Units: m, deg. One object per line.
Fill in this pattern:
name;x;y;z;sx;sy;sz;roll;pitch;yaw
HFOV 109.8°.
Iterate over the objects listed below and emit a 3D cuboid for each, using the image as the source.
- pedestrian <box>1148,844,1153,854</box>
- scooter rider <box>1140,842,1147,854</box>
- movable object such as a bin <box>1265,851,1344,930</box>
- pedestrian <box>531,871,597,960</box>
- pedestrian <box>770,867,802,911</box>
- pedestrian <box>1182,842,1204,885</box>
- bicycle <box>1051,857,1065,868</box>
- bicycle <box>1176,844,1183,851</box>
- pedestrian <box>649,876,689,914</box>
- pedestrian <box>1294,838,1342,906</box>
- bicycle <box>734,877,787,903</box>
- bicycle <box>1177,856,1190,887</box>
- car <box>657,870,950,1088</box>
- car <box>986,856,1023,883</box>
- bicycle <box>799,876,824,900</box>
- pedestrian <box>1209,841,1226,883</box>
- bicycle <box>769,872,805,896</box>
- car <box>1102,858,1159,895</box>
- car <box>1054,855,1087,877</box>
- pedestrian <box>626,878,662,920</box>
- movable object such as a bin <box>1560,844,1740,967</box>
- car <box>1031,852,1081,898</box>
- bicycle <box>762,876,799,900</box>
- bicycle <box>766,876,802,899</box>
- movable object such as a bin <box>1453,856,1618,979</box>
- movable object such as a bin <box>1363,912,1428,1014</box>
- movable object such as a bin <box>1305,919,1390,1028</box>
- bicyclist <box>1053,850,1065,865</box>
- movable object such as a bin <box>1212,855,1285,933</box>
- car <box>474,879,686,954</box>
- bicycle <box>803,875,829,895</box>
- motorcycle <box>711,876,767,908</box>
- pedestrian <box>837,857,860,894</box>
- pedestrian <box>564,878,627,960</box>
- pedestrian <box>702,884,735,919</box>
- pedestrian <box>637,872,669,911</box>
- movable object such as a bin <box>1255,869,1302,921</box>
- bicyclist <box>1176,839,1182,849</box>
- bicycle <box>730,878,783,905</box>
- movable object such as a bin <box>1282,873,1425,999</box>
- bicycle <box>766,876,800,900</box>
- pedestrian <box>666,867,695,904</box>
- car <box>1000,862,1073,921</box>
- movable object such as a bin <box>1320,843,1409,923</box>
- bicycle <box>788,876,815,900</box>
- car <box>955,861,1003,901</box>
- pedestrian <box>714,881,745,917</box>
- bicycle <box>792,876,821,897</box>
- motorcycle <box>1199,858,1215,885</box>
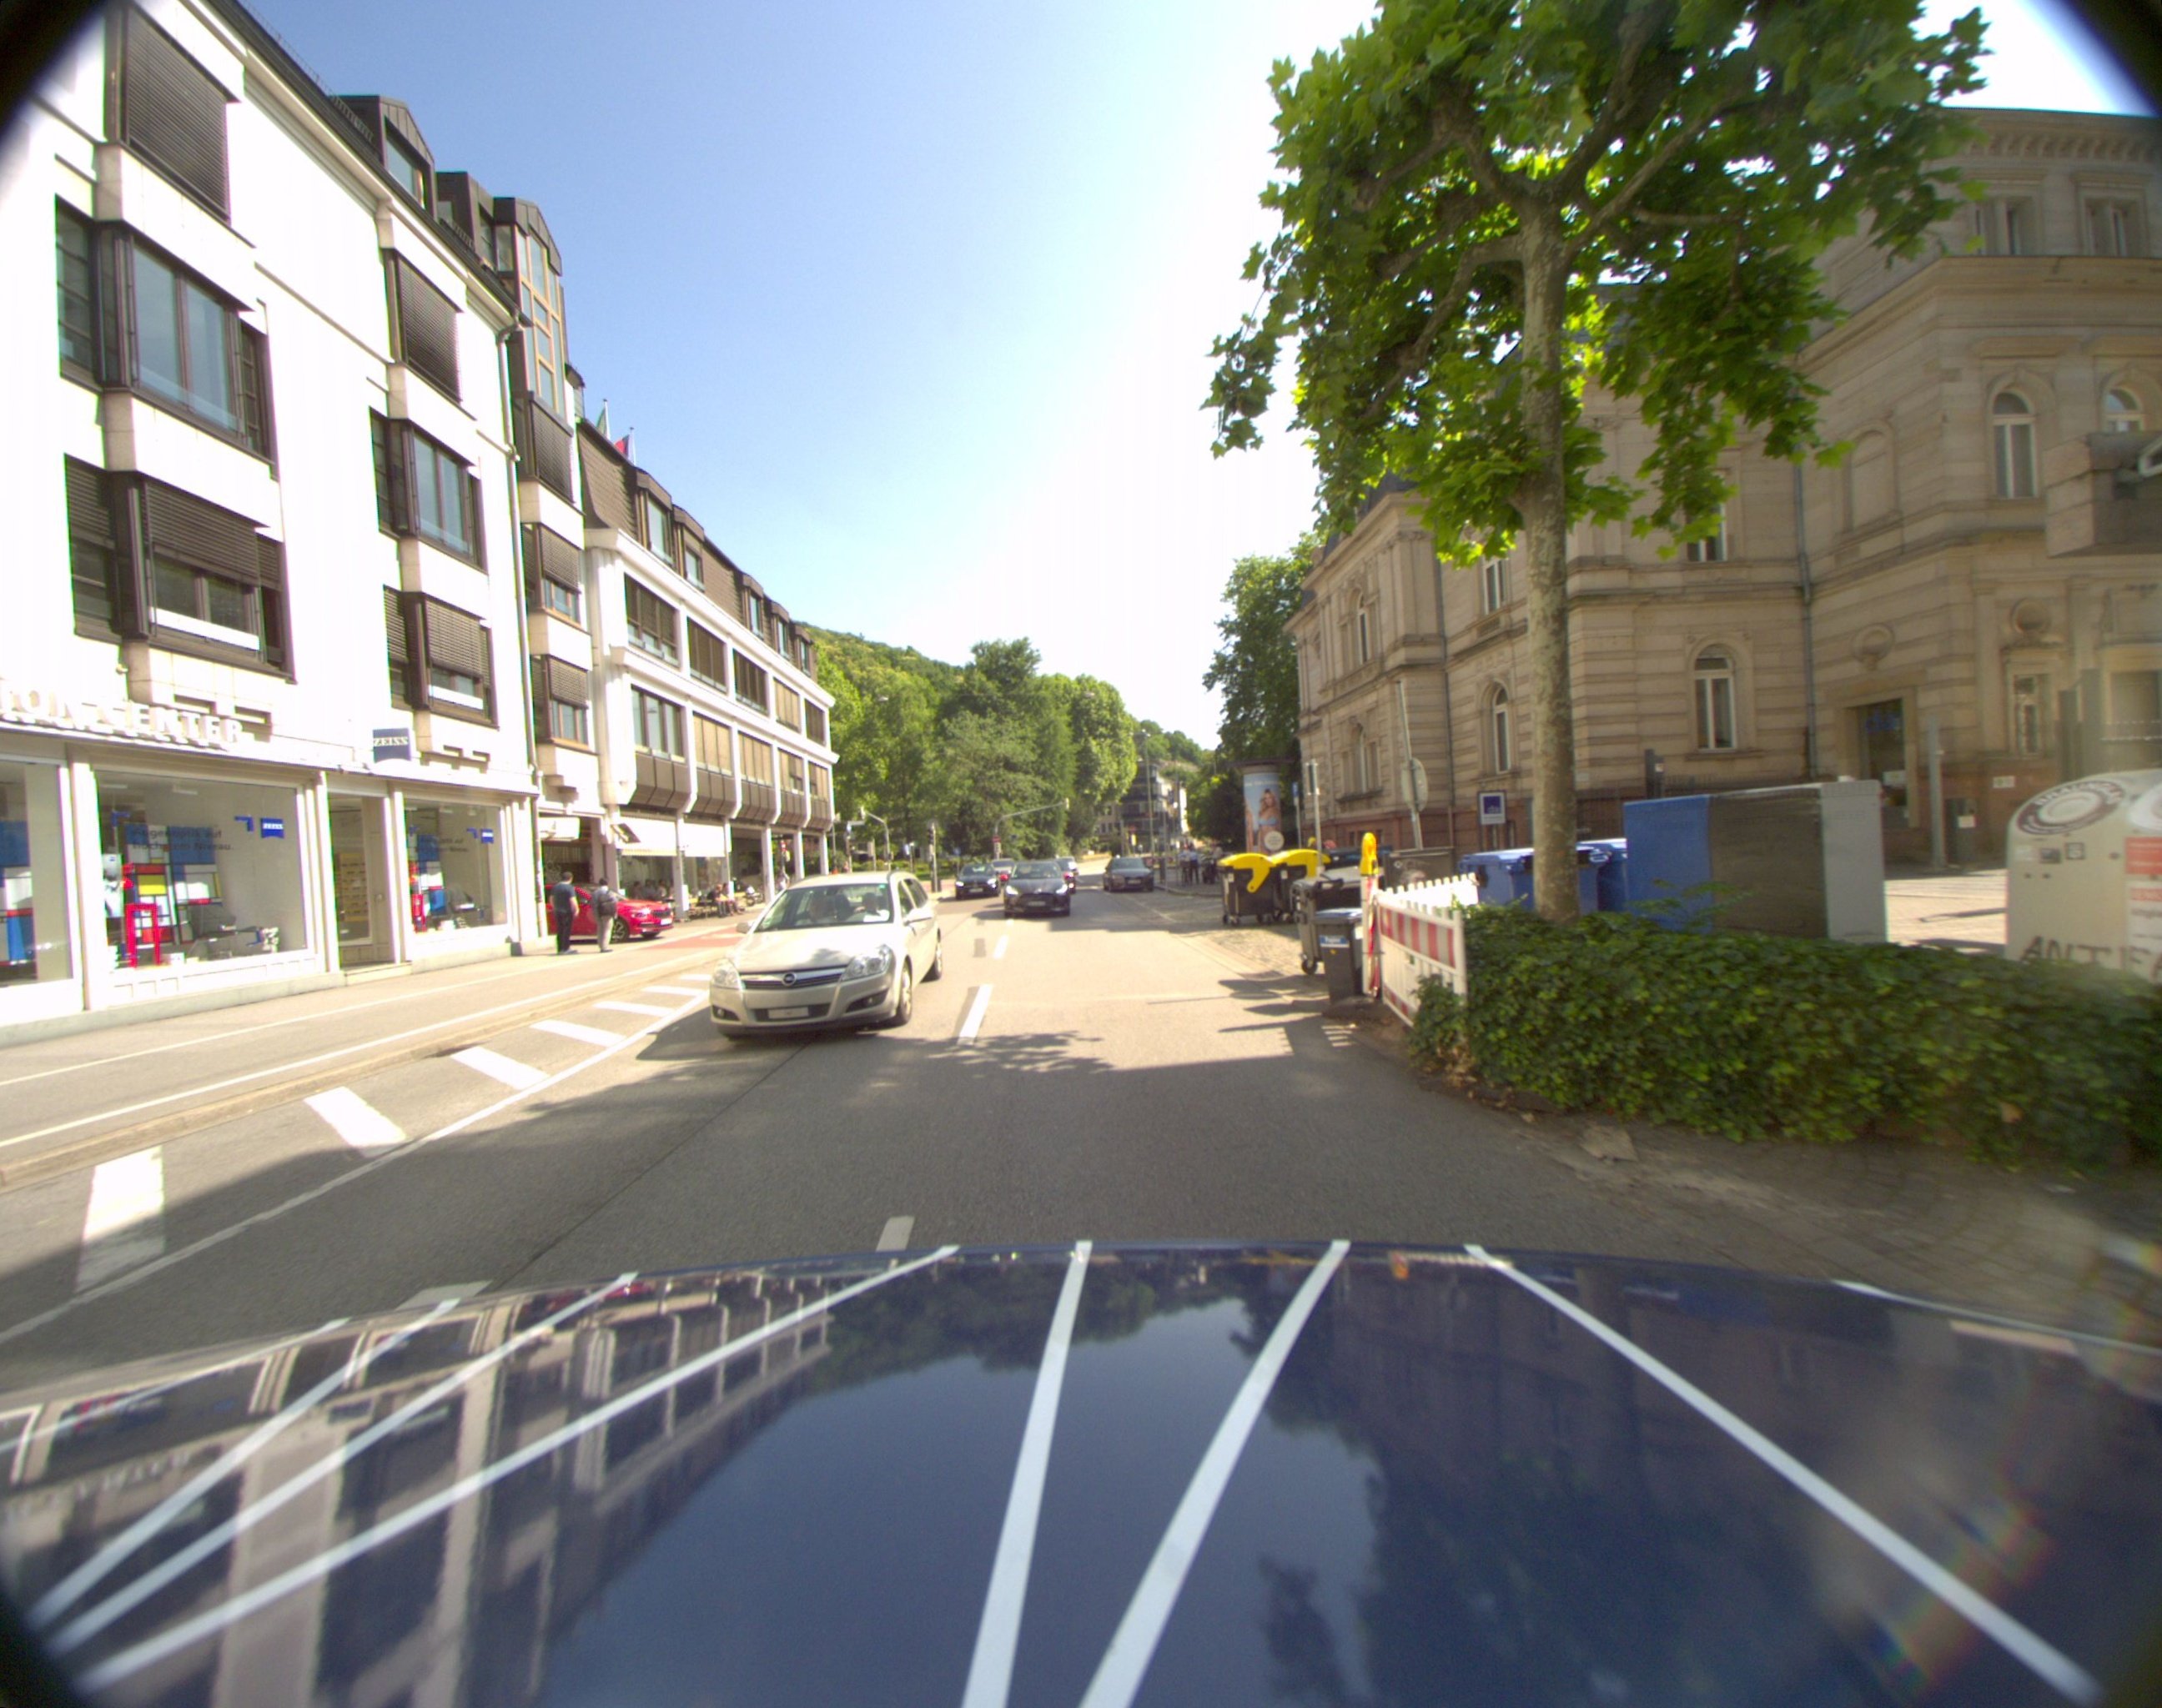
pedestrian;11.934;-0.896;130.501;0.710;1.663;0.535;-3;1;20
scooter rider;9.457;-0.935;115.165;0.711;1.662;0.821;-4;1;-43
movable object such as a bin;4.530;0.721;15.531;1.126;1.442;1.439;-5;-1;3
pedestrian;-11.319;1.330;16.659;0.696;1.840;0.835;-3;2;6
pedestrian;-11.530;1.359;29.744;0.834;1.654;0.697;-3;2;6
pedestrian;4.585;0.383;31.168;0.696;1.685;0.690;-3;2;0
bicycle;-2.428;0.898;81.341;0.782;1.114;1.680;-3;0;22
bicycle;16.920;-1.121;130.306;0.758;1.114;2.003;-2;2;19
pedestrian;-15.863;1.575;29.286;0.898;1.343;1.104;-3;2;-4
pedestrian;6.221;0.460;19.984;0.892;1.715;0.748;-4;1;-9
bicycle;-15.335;1.725;36.389;2.243;1.114;0.277;-3;1;-10
bicycle;4.167;0.688;30.773;0.430;1.114;2.243;-5;2;8
car;-2.564;1.033;8.219;1.712;1.513;4.405;-4;0;-4
car;-4.538;0.907;45.700;1.942;1.421;4.341;-3;1;-3
bicycle;-13.882;1.735;39.178;0.277;1.114;2.244;-3;0;5
pedestrian;5.502;0.314;30.641;0.550;1.656;0.937;-3;2;6
bicycle;-17.395;1.765;44.946;1.862;1.309;0.529;-2;0;-41
car;1.968;0.871;31.560;1.942;1.346;4.249;-3;0;-1
car;-0.748;0.850;56.970;1.941;1.421;4.550;-3;1;5
pedestrian;-15.705;1.613;27.304;0.815;1.389;0.696;-3;2;-5
movable object such as a bin;6.794;0.589;9.149;1.212;1.292;1.127;-5;0;-3
car;-1.107;0.821;32.032;1.890;1.674;4.140;-3;1;-3
bicycle;-15.014;1.694;37.968;1.720;1.114;0.278;-2;1;4
bicycle;-14.990;1.704;38.364;1.720;1.114;0.278;-2;1;4
movable object such as a bin;5.398;0.725;9.125;1.212;1.291;1.079;-5;-1;-3
movable object such as a bin;3.117;1.071;7.563;0.499;0.934;0.556;-2;0;14
movable object such as a bin;2.552;1.123;7.289;0.556;0.934;0.499;-1;0;-29
bicyclist;-2.390;0.370;81.412;0.866;1.566;0.944;-2;2;23
movable object such as a bin;3.402;0.795;15.585;1.126;1.442;1.439;-5;-1;3
car;-12.645;1.547;19.389;4.055;1.486;1.840;-3;3;-1
bicycle;-14.898;1.724;42.715;0.308;1.059;1.474;-1;0;33
motorcycle;-15.256;1.701;33.877;2.238;1.283;0.950;-2;2;25
pedestrian;-11.966;1.100;39.173;0.834;1.825;0.697;-3;2;6
pedestrian;-10.521;1.399;16.488;0.696;1.676;0.836;-3;1;6
pedestrian;-12.851;1.686;26.947;0.713;1.166;0.697;-3;2;6
pedestrian;-15.827;1.378;28.133;0.713;1.389;0.696;-3;2;-4
movable object such as a bin;4.429;0.911;17.049;0.725;1.091;0.656;-5;0;-10
bicyclist;16.739;-1.695;129.947;0.765;1.627;0.944;-3;2;19
bicycle;-15.269;1.747;35.773;2.244;1.090;0.277;-3;1;-16
movable object such as a bin;3.140;0.917;8.848;1.280;1.292;0.853;-4;1;-3
bicycle;-14.676;1.694;37.456;1.574;1.114;0.278;-2;1;4
pedestrian;-15.872;1.250;30.156;0.713;1.389;0.696;-3;2;-4
car;-1.288;0.965;21.099;1.811;1.443;3.952;-1;0;-5
movable object such as a bin;5.683;0.569;15.348;1.212;1.442;1.364;-5;-1;3
bicycle;-14.297;1.719;38.939;0.277;1.114;2.244;-3;0;5
car;-4.368;1.099;32.617;1.849;1.421;4.209;-3;1;-8
pedestrian;-12.865;1.641;27.803;0.713;1.210;0.697;-3;2;6
bicycle;-15.006;1.747;41.535;0.376;1.059;1.474;-1;1;44
motorcycle;5.076;0.688;30.648;0.454;0.992;2.161;-5;1;7
